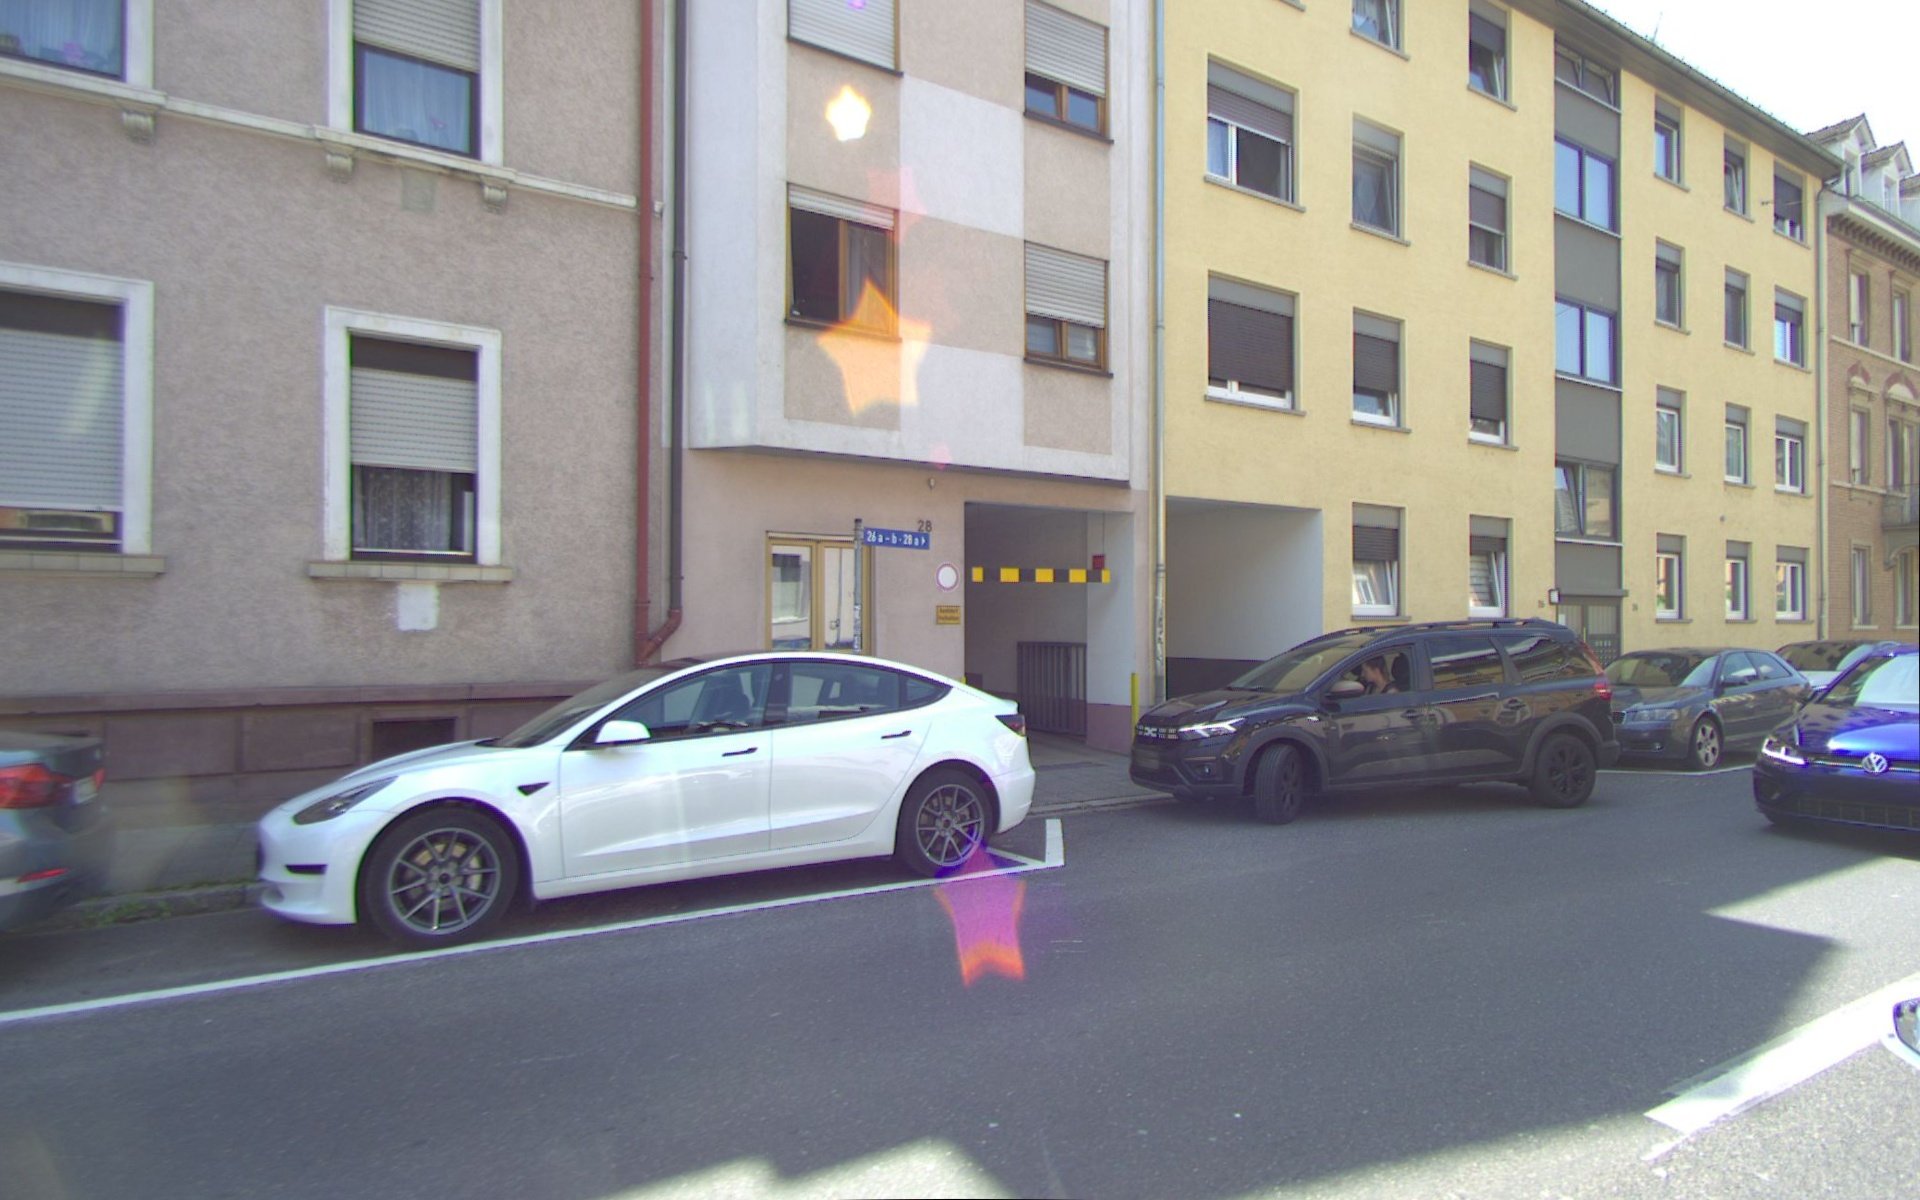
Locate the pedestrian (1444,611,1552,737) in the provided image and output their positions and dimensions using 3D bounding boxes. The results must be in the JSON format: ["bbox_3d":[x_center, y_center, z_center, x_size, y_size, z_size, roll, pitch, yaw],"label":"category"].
[{"bbox_3d":[7.976,1.066,14.901,1.142,1.773,0.962,1,-2,-31],"label":"pedestrian"}]

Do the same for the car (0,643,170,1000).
[{"bbox_3d":[-6.005,0.890,3.757,4.598,1.441,1.829,2,-4,-34],"label":"car"}]

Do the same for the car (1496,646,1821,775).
[{"bbox_3d":[8.953,1.308,12.828,4.014,1.397,1.896,1,-4,-31],"label":"car"}]

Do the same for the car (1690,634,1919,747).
[{"bbox_3d":[13.421,1.333,15.580,4.254,1.530,1.895,2,-4,-32],"label":"car"}]

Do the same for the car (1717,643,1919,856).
[{"bbox_3d":[7.941,1.055,7.961,3.956,1.407,1.806,1,-2,-32],"label":"car"}]

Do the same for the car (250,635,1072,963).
[{"bbox_3d":[-1.645,1.002,6.400,4.505,1.441,1.831,2,-5,-31],"label":"car"}]

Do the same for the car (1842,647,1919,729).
[{"bbox_3d":[18.643,1.588,18.779,4.701,1.419,1.895,1,-4,-31],"label":"car"}]

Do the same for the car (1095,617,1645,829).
[{"bbox_3d":[3.715,1.035,9.390,4.480,1.659,1.906,0,-3,-14],"label":"car"}]
